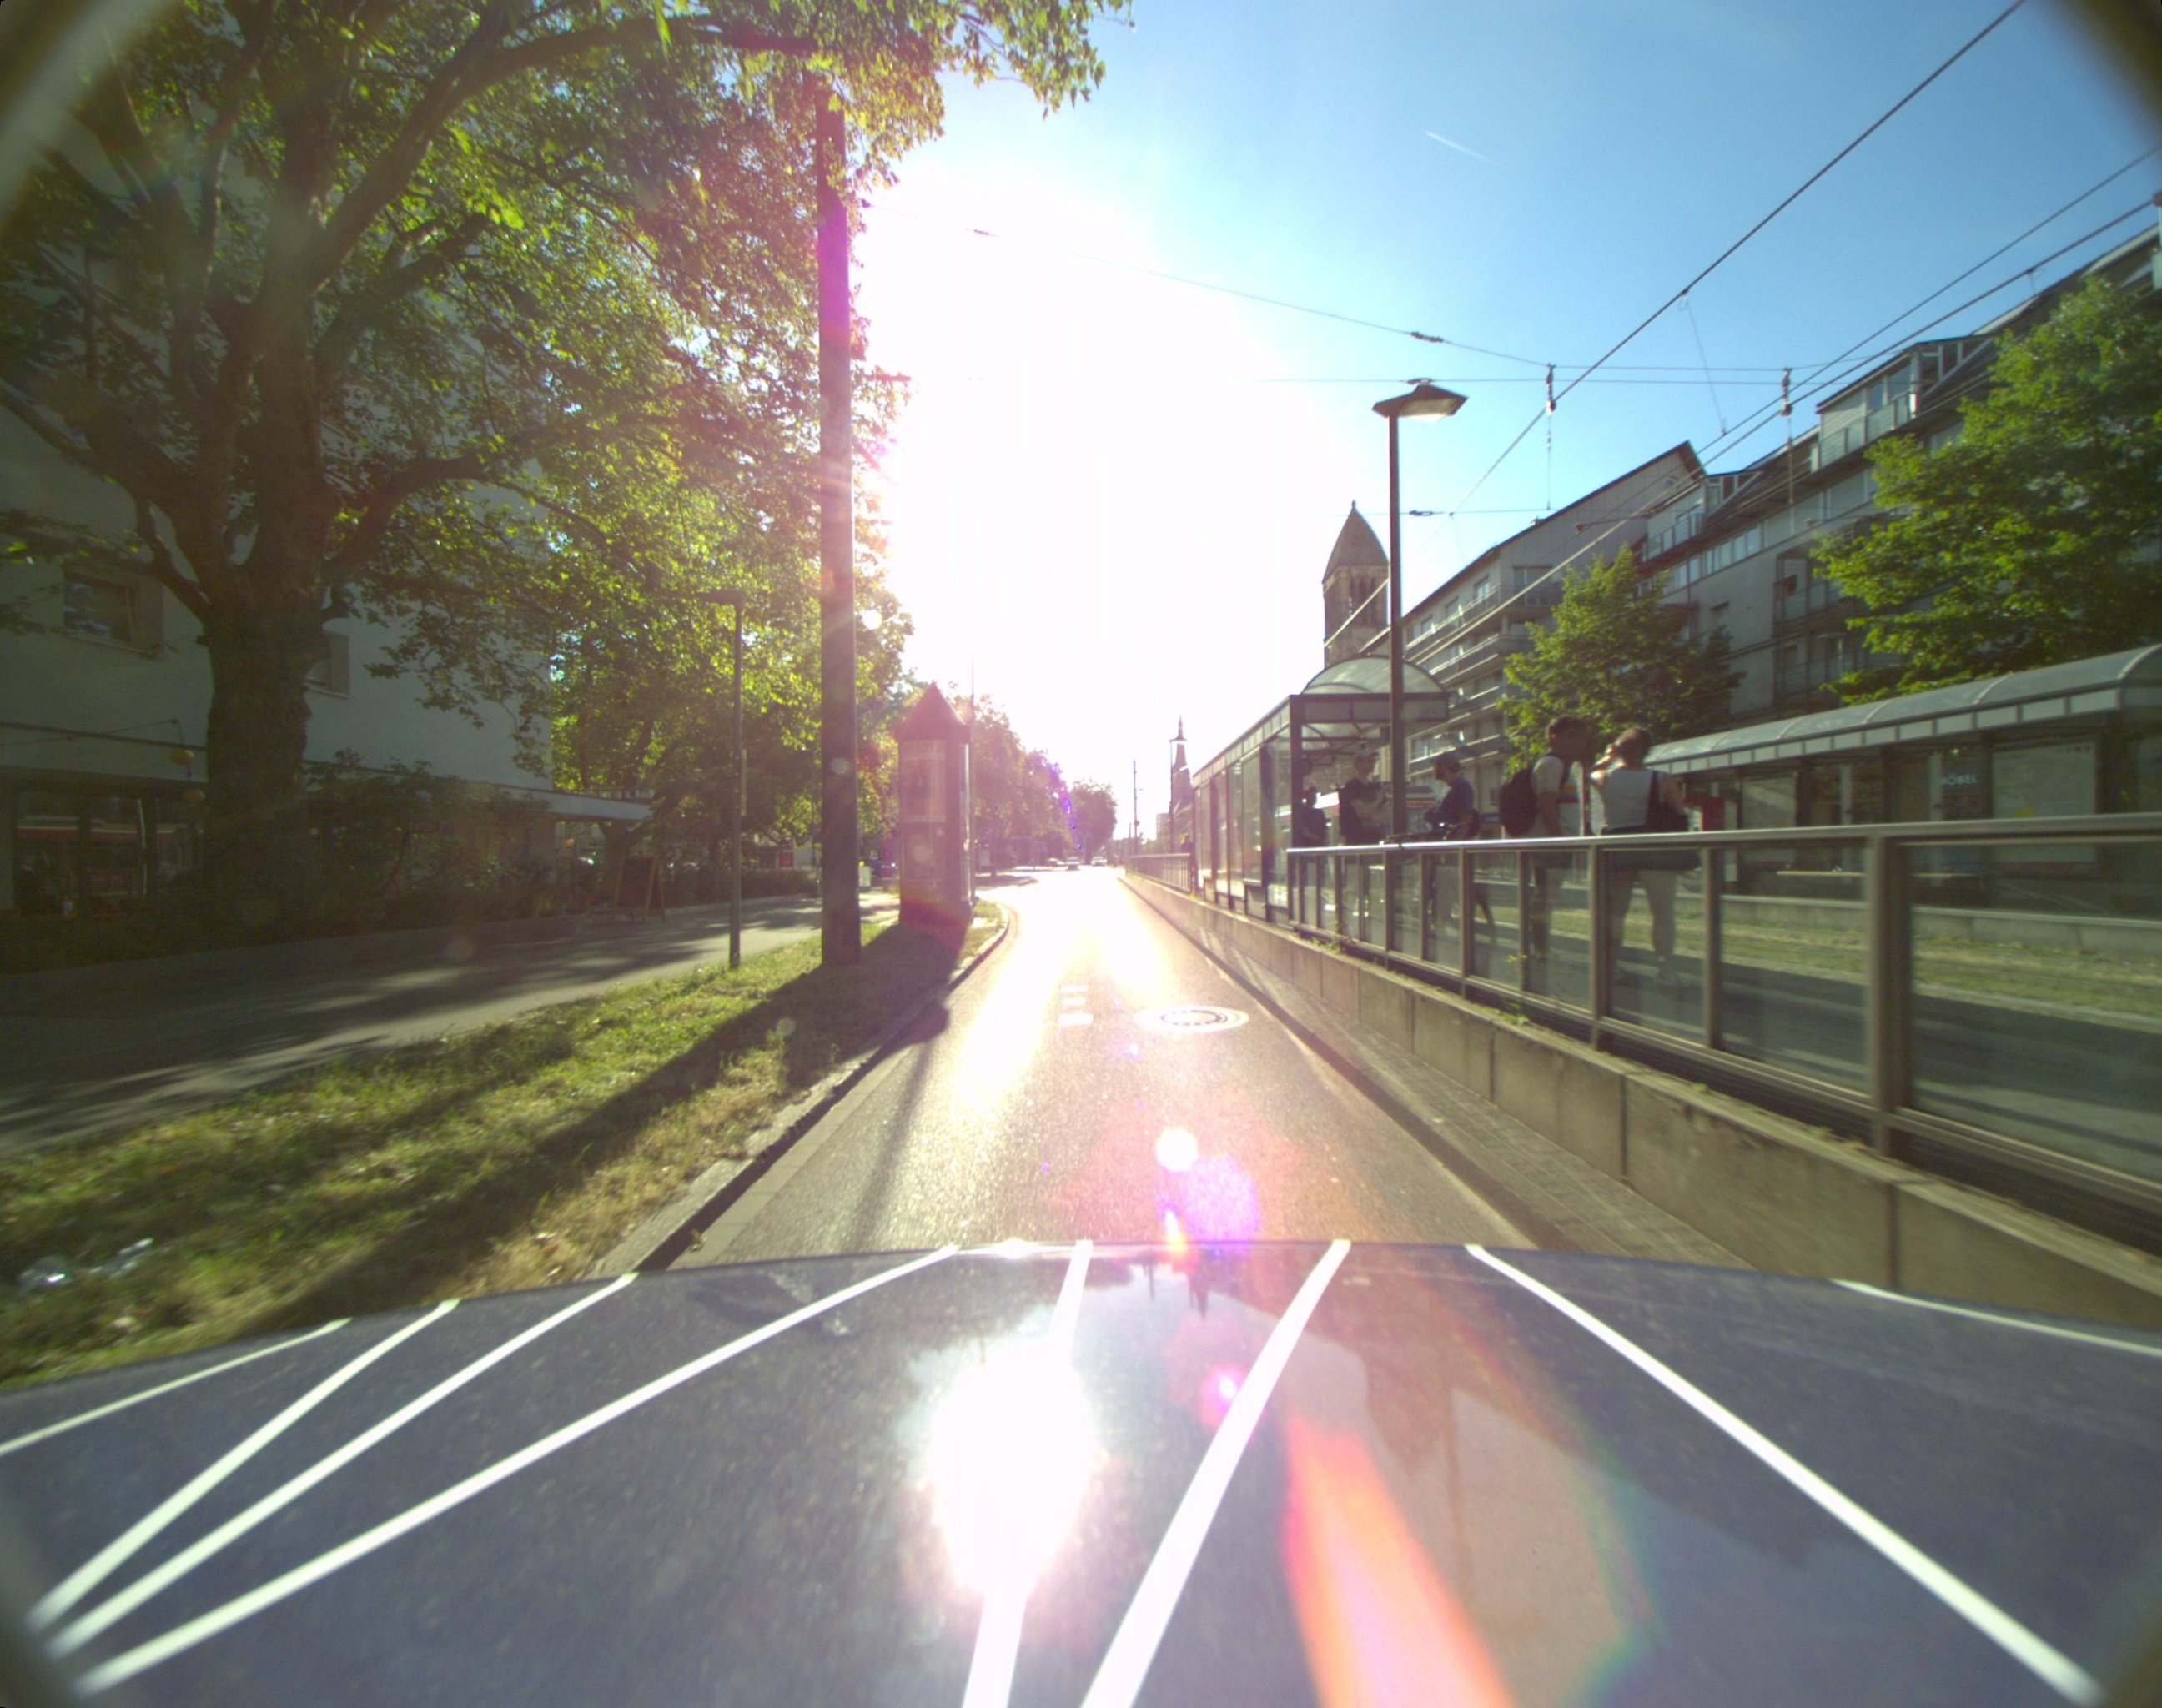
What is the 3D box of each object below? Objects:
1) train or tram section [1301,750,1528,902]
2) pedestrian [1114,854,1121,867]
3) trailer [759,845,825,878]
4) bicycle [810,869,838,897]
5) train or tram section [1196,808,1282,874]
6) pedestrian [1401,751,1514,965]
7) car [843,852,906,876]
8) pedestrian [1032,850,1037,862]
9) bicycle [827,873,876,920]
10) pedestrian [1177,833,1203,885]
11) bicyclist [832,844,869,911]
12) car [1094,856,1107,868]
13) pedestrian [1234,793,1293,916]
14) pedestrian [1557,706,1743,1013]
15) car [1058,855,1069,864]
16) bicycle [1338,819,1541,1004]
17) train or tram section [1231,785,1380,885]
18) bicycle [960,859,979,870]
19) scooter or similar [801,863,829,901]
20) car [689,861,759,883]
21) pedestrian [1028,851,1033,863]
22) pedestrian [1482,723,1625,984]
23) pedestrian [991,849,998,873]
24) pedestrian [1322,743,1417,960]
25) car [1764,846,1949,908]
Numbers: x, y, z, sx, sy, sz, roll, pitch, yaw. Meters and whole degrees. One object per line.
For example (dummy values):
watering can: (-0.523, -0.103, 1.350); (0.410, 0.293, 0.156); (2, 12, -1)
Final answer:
train or tram section: (9.564, -0.692, 23.449); (2.877, 3.664, 9.684); (-1, 0, 1)
pedestrian: (4.423, 0.761, 92.280); (0.679, 1.611, 0.925); (-3, 1, -1)
trailer: (-21.943, 0.537, 57.789); (4.520, 2.359, 1.911); (-1, 0, -21)
bicycle: (-9.719, 1.076, 28.713); (0.606, 1.020, 1.949); (0, -1, -31)
train or tram section: (10.003, -0.755, 50.127); (2.877, 3.654, 14.560); (-1, 0, 1)
pedestrian: (3.374, 0.039, 6.870); (0.600, 1.789, 0.824); (-3, 1, 6)
car: (-16.282, 0.799, 59.885); (4.584, 1.630, 1.932); (-3, 0, -21)
pedestrian: (-7.263, 0.384, 118.891); (0.631, 1.833, 0.540); (-3, 1, -1)
bicycle: (-5.451, 0.992, 18.149); (0.604, 1.020, 1.766); (-1, 0, 0)
pedestrian: (3.514, 0.164, 24.571); (0.631, 1.600, 0.982); (-3, 1, -1)
bicyclist: (-5.459, 0.548, 18.033); (0.604, 1.542, 0.860); (-1, 1, 0)
car: (2.607, 1.056, 102.050); (1.636, 1.491, 4.000); (-3, 0, 1)
pedestrian: (2.940, 0.012, 12.311); (0.671, 1.891, 0.824); (-3, 1, 0)
pedestrian: (3.423, 0.031, 4.623); (0.507, 1.698, 0.729); (-3, 1, -2)
car: (-2.908, 0.950, 128.034); (1.720, 1.319, 3.754); (-3, 0, 1)
bicycle: (2.581, 0.354, 5.764); (0.514, 1.126, 2.103); (-3, 0, 1)
train or tram section: (9.776, -0.728, 35.564); (2.877, 3.664, 14.560); (-1, 0, 1)
bicycle: (-11.514, 1.091, 78.718); (1.827, 1.047, 0.534); (-2, 0, -26)
scooter or similar: (-9.110, 0.956, 26.038); (0.562, 1.250, 1.289); (0, 1, -3)
car: (-26.206, 1.312, 55.924); (4.442, 1.353, 1.932); (-3, 0, -21)
pedestrian: (-7.915, 0.512, 118.924); (0.631, 1.833, 0.540); (-3, 1, -1)
pedestrian: (3.272, -0.004, 5.305); (0.550, 1.698, 0.599); (-3, 1, -2)
pedestrian: (-6.107, 0.482, 53.485); (0.429, 1.629, 0.613); (-2, 0, -7)
pedestrian: (2.811, -0.019, 7.471); (0.600, 1.984, 0.824); (-3, 1, 6)
car: (23.736, 0.649, 23.482); (1.811, 1.667, 3.785); (-3, 0, 0)
